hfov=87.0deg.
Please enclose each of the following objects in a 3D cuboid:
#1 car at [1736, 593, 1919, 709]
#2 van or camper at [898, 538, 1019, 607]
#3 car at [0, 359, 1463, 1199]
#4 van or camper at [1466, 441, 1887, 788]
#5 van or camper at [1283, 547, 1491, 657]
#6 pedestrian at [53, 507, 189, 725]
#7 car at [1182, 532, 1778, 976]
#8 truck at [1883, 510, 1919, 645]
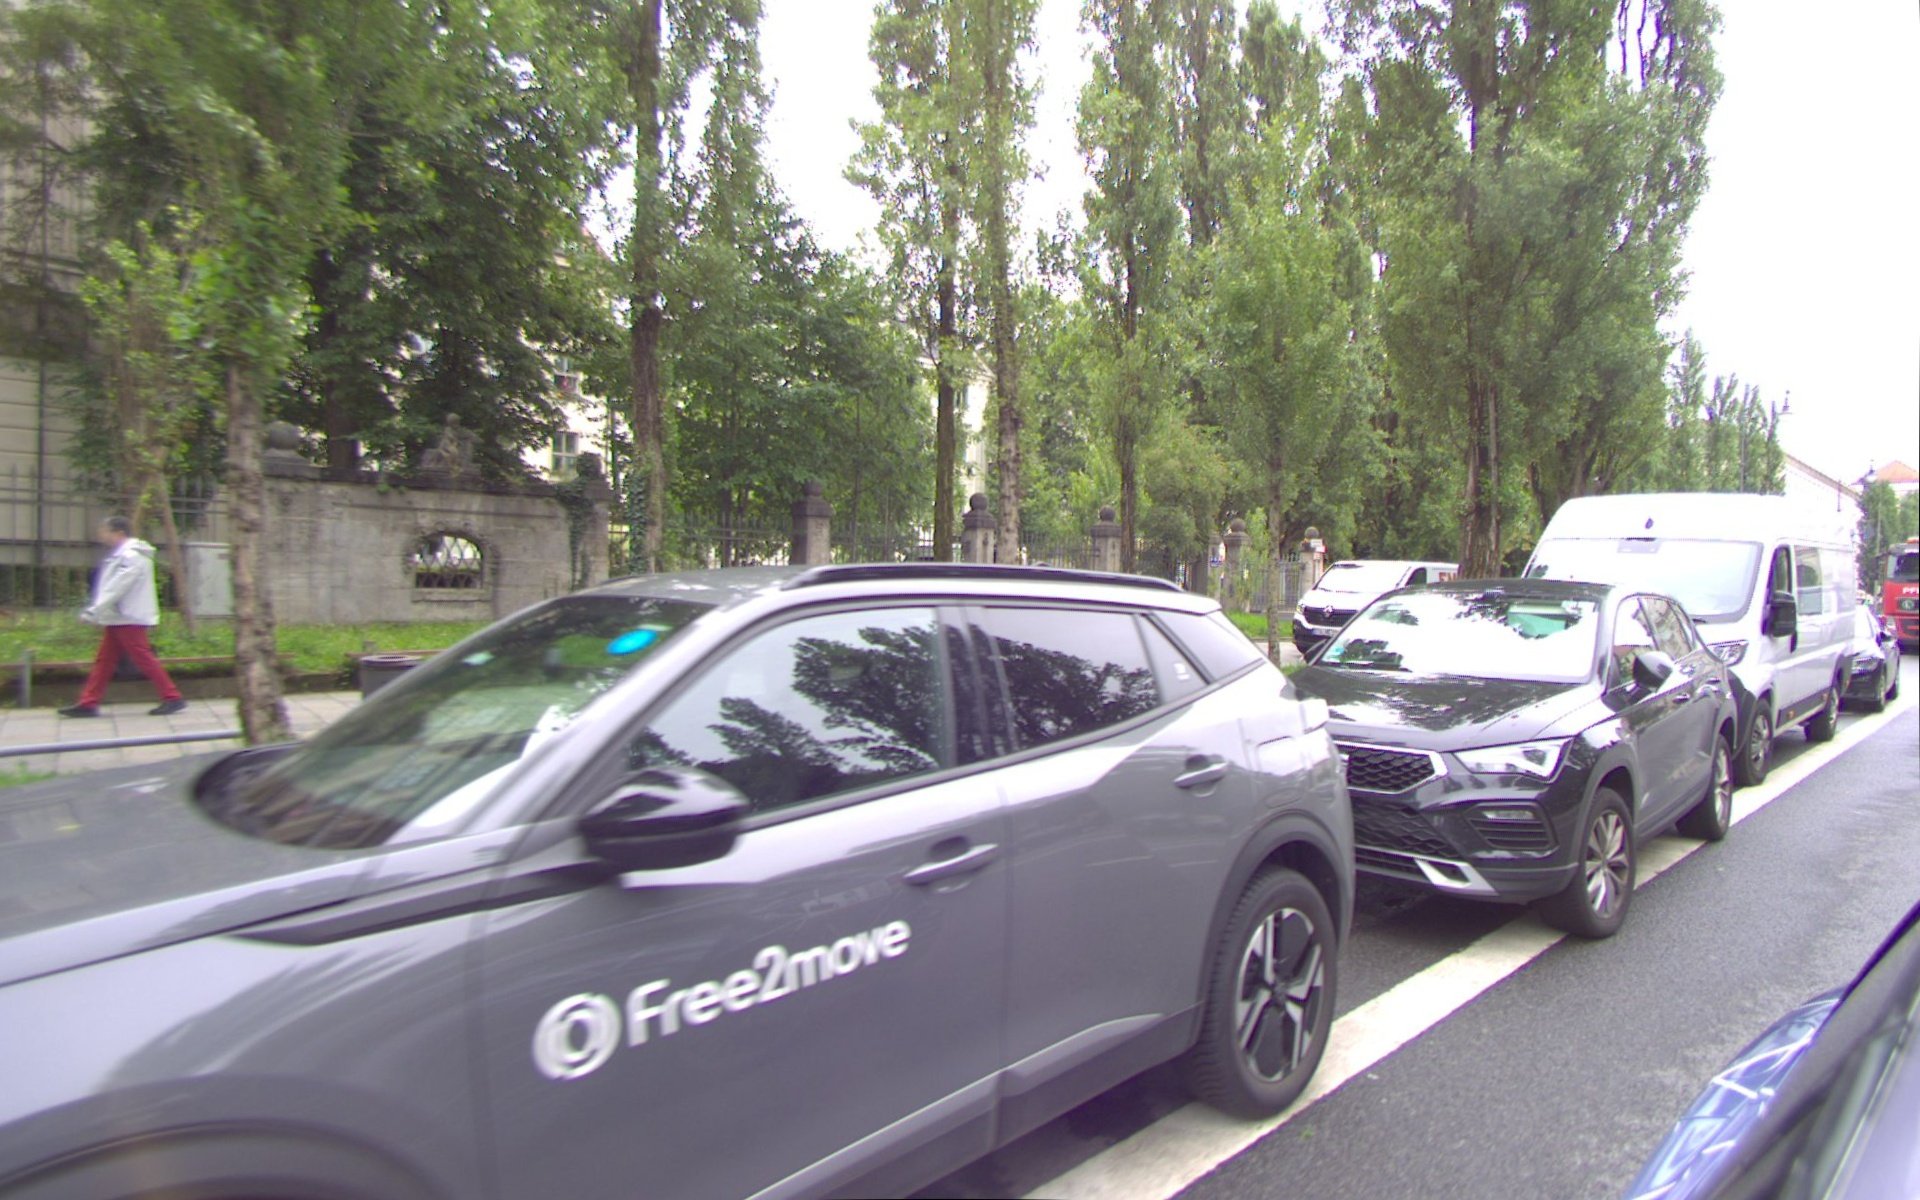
[{"bbox_3d":[12.893,0.640,14.914,3.933,1.438,1.678,0,2,-43],"label":"car"},{"bbox_3d":[-0.146,-1.162,42.578,2.210,2.740,5.219,0,2,-41],"label":"van or camper"},{"bbox_3d":[-0.591,0.550,2.594,4.557,1.638,1.787,0,1,-42],"label":"car"},{"bbox_3d":[7.637,0.072,10.413,6.306,2.572,2.142,0,1,-42],"label":"van or camper"},{"bbox_3d":[8.709,0.034,20.418,4.952,1.958,1.978,0,0,-42],"label":"van or camper"},{"bbox_3d":[-7.383,0.120,8.922,0.879,1.790,0.796,0,1,-40],"label":"pedestrian"},{"bbox_3d":[3.311,0.556,5.959,4.344,1.669,1.786,0,1,-44],"label":"car"},{"bbox_3d":[29.960,-0.584,30.082,10.104,3.609,2.849,0,1,-43],"label":"truck"}]
